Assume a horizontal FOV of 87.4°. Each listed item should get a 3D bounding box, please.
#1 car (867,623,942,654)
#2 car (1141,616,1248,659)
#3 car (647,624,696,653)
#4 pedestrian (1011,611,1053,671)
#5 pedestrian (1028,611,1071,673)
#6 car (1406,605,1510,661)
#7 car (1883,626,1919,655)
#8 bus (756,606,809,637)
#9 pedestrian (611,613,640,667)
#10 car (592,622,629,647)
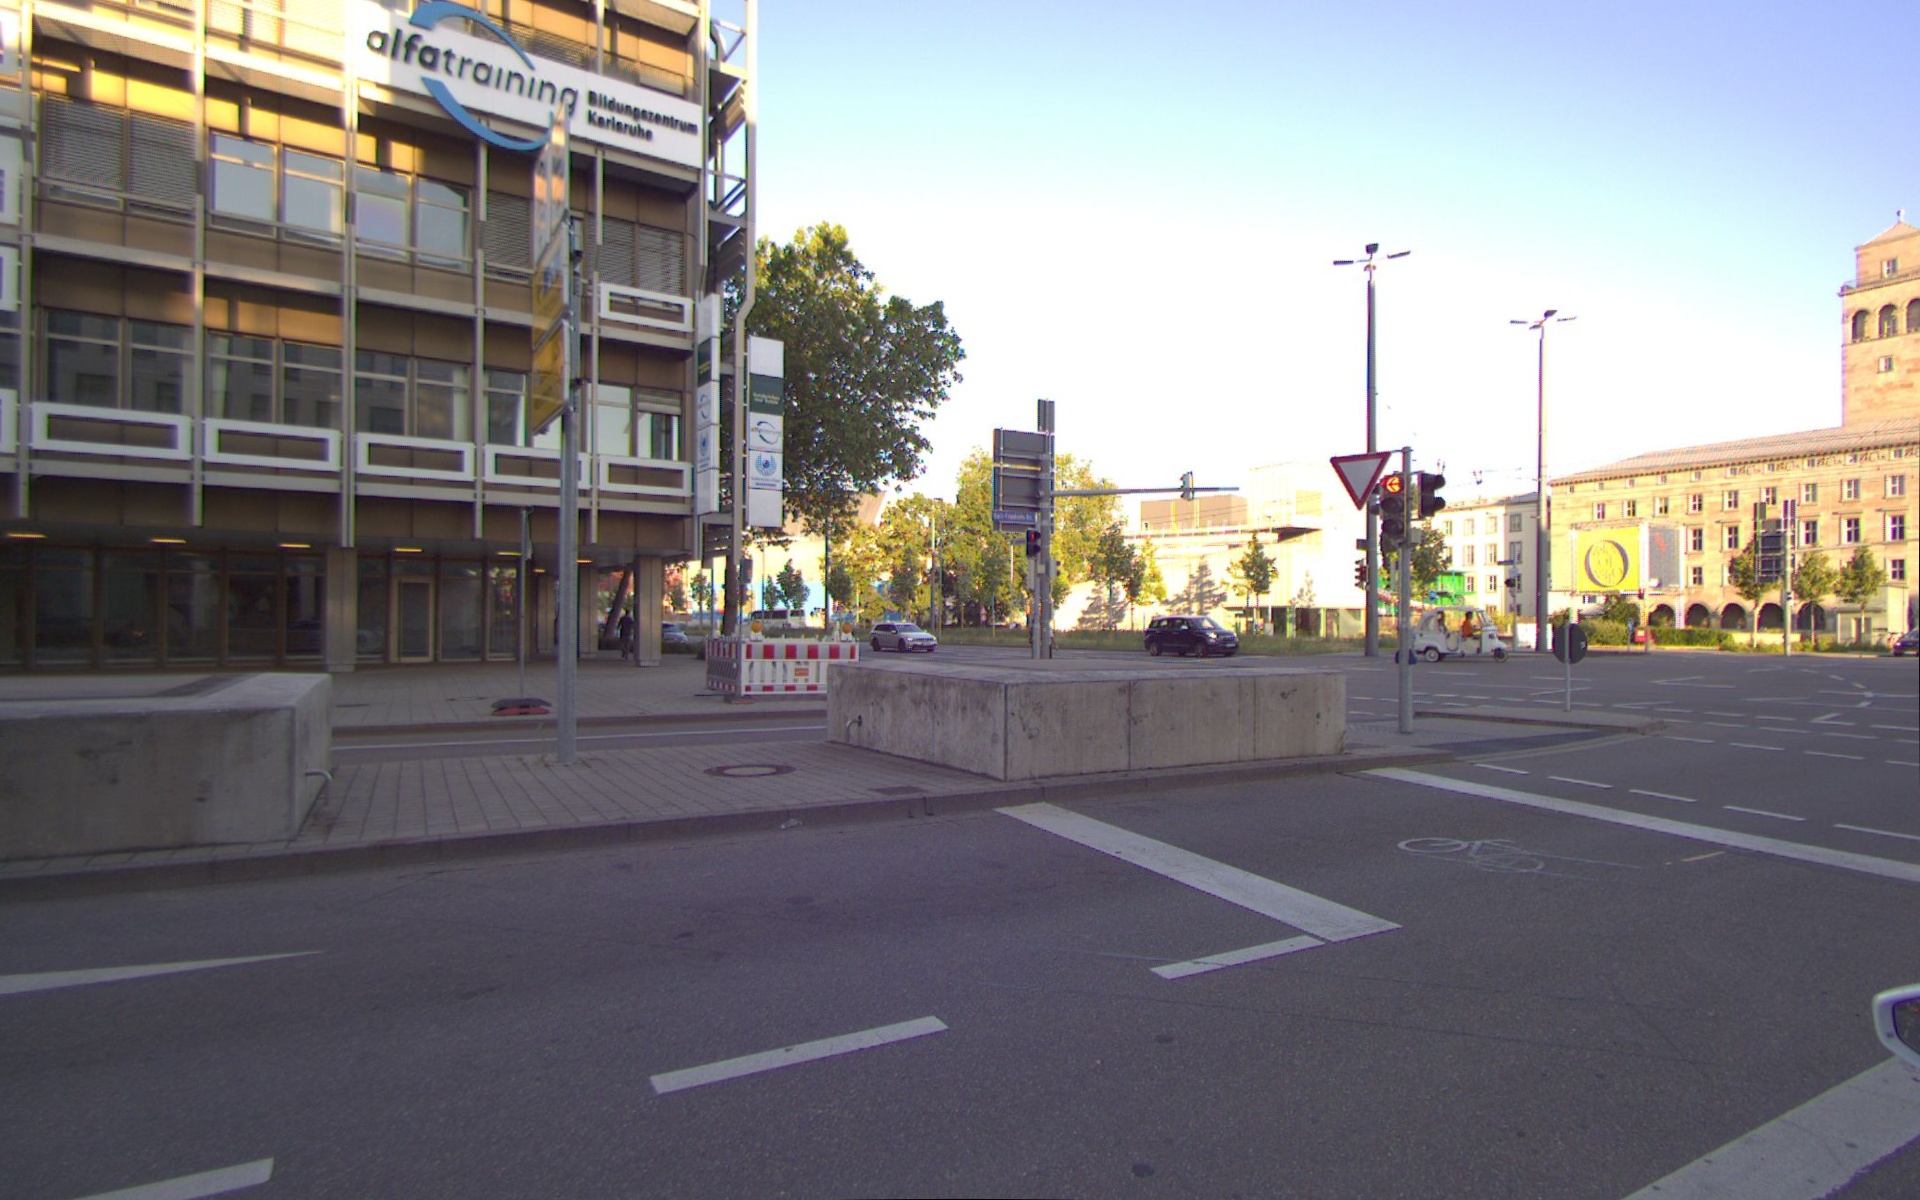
[{"bbox_3d":[-2.860,1.897,50.820,1.831,1.476,4.551,0,-1,-32],"label":"car"},{"bbox_3d":[9.316,1.450,40.252,1.727,1.626,4.093,1,-1,-35],"label":"car"},{"bbox_3d":[-16.971,2.225,58.906,1.722,1.605,4.554,0,-1,-30],"label":"car"},{"bbox_3d":[2.108,1.191,29.584,0.949,1.744,0.816,1,-1,-34],"label":"pedestrian"},{"bbox_3d":[2.575,1.202,28.834,0.949,1.744,0.816,1,-1,-34],"label":"pedestrian"},{"bbox_3d":[15.998,1.044,32.302,2.920,1.718,1.485,-1,-1,30],"label":"car"},{"bbox_3d":[51.251,2.137,53.655,4.111,1.485,1.813,0,-1,-32],"label":"car"},{"bbox_3d":[-23.067,2.789,130.176,2.959,3.818,10.341,1,-1,-34],"label":"bus"},{"bbox_3d":[-11.698,1.393,35.144,0.749,1.830,0.715,2,0,-35],"label":"pedestrian"},{"bbox_3d":[-24.370,2.377,69.944,1.722,1.605,3.764,0,-1,-31],"label":"car"}]
